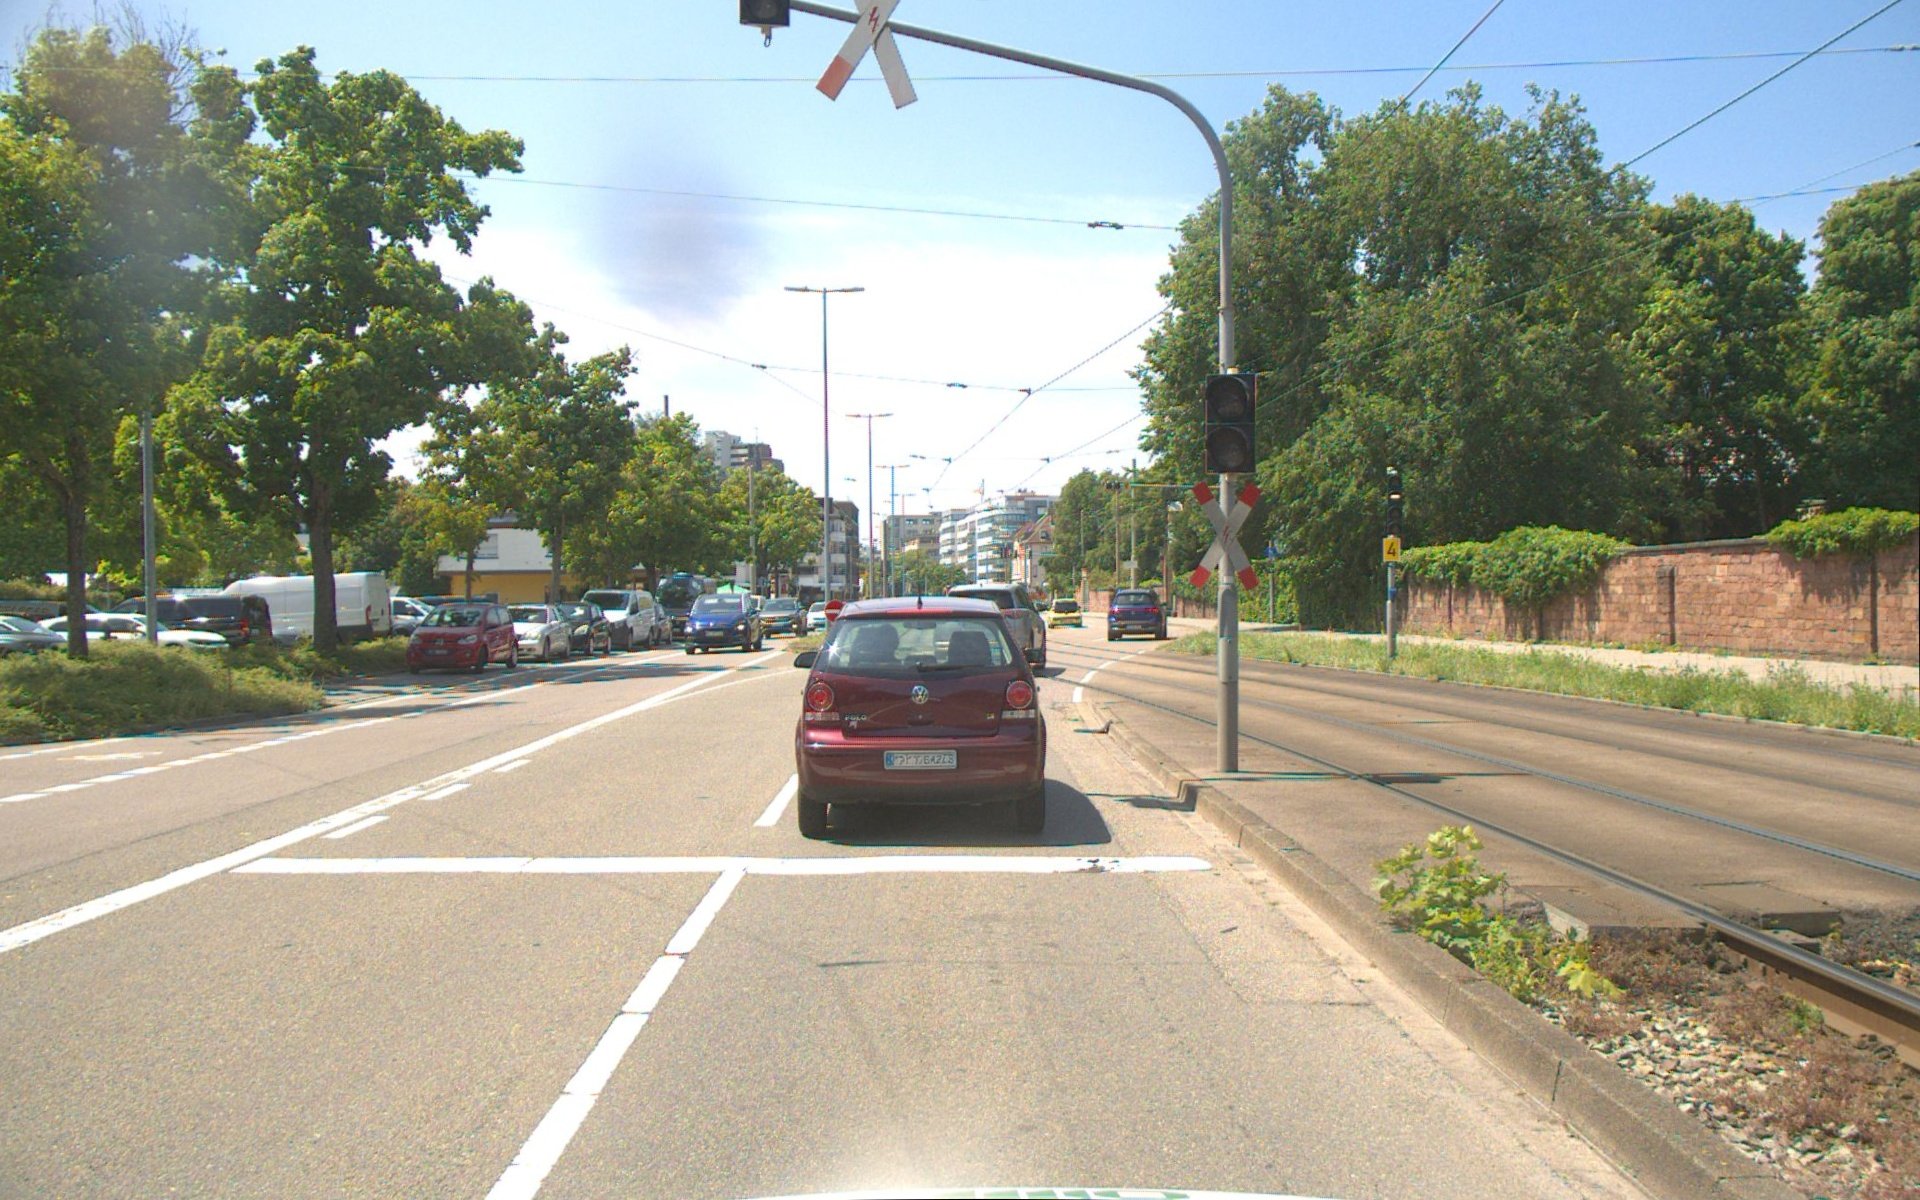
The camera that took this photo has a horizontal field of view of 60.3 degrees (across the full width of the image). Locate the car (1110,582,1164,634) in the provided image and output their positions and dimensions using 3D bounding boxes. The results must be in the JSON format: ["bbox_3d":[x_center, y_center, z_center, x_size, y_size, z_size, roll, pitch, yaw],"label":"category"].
[{"bbox_3d":[5.969,0.245,55.485,1.736,1.659,4.003,0,0,7],"label":"car"}]

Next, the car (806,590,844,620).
[{"bbox_3d":[-6.765,0.241,83.007,1.615,1.400,3.810,-1,0,-1],"label":"car"}]

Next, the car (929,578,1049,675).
[{"bbox_3d":[0.613,0.459,31.189,1.757,1.712,4.003,0,0,8],"label":"car"}]

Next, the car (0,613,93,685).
[{"bbox_3d":[-22.007,1.115,37.130,4.037,1.535,1.932,-1,0,1],"label":"car"}]

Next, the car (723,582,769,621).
[{"bbox_3d":[-11.553,0.081,89.642,1.837,2.000,5.163,-1,0,-1],"label":"car"}]

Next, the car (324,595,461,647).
[{"bbox_3d":[-21.864,0.782,63.817,4.624,1.845,1.796,-1,0,-3],"label":"car"}]

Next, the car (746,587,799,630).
[{"bbox_3d":[-7.352,0.327,65.170,1.702,1.603,3.712,-1,0,-1],"label":"car"}]

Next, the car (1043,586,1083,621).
[{"bbox_3d":[5.192,0.182,83.820,1.758,1.712,3.999,0,0,-1],"label":"car"}]

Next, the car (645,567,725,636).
[{"bbox_3d":[-11.339,0.037,68.684,2.350,2.703,6.171,-1,0,-1],"label":"car"}]

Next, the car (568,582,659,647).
[{"bbox_3d":[-11.160,0.446,53.557,1.824,1.971,4.806,-1,0,1],"label":"car"}]

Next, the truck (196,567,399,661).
[{"bbox_3d":[-21.233,0.434,53.164,5.464,2.808,2.432,-1,0,0],"label":"truck"}]

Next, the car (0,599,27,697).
[{"bbox_3d":[-20.387,0.966,31.552,4.178,1.867,1.673,-1,0,1],"label":"car"}]

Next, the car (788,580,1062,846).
[{"bbox_3d":[-0.215,0.674,11.828,1.577,1.524,4.000,-2,0,0],"label":"car"}]

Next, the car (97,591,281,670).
[{"bbox_3d":[-20.999,0.812,45.178,4.125,2.030,1.856,-1,0,-3],"label":"car"}]

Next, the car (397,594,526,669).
[{"bbox_3d":[-10.930,0.671,36.508,1.637,1.573,3.727,0,0,1],"label":"car"}]

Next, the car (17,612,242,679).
[{"bbox_3d":[-21.162,1.144,42.313,4.666,1.514,2.057,-1,0,-3],"label":"car"}]

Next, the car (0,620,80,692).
[{"bbox_3d":[-21.057,1.199,34.618,4.114,1.428,2.079,-1,0,-5],"label":"car"}]

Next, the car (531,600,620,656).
[{"bbox_3d":[-11.142,0.788,48.087,1.581,1.510,3.785,2,0,1],"label":"car"}]

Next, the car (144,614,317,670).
[{"bbox_3d":[-20.963,1.190,47.655,4.125,1.436,1.856,-1,0,-3],"label":"car"}]

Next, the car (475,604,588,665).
[{"bbox_3d":[-11.141,0.857,43.358,1.683,1.452,4.771,-2,0,0],"label":"car"}]

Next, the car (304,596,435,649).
[{"bbox_3d":[-21.788,0.818,61.141,4.125,1.796,1.856,-1,0,-3],"label":"car"}]

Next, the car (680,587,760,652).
[{"bbox_3d":[-6.721,0.525,46.682,1.702,1.685,4.065,-2,0,-1],"label":"car"}]
